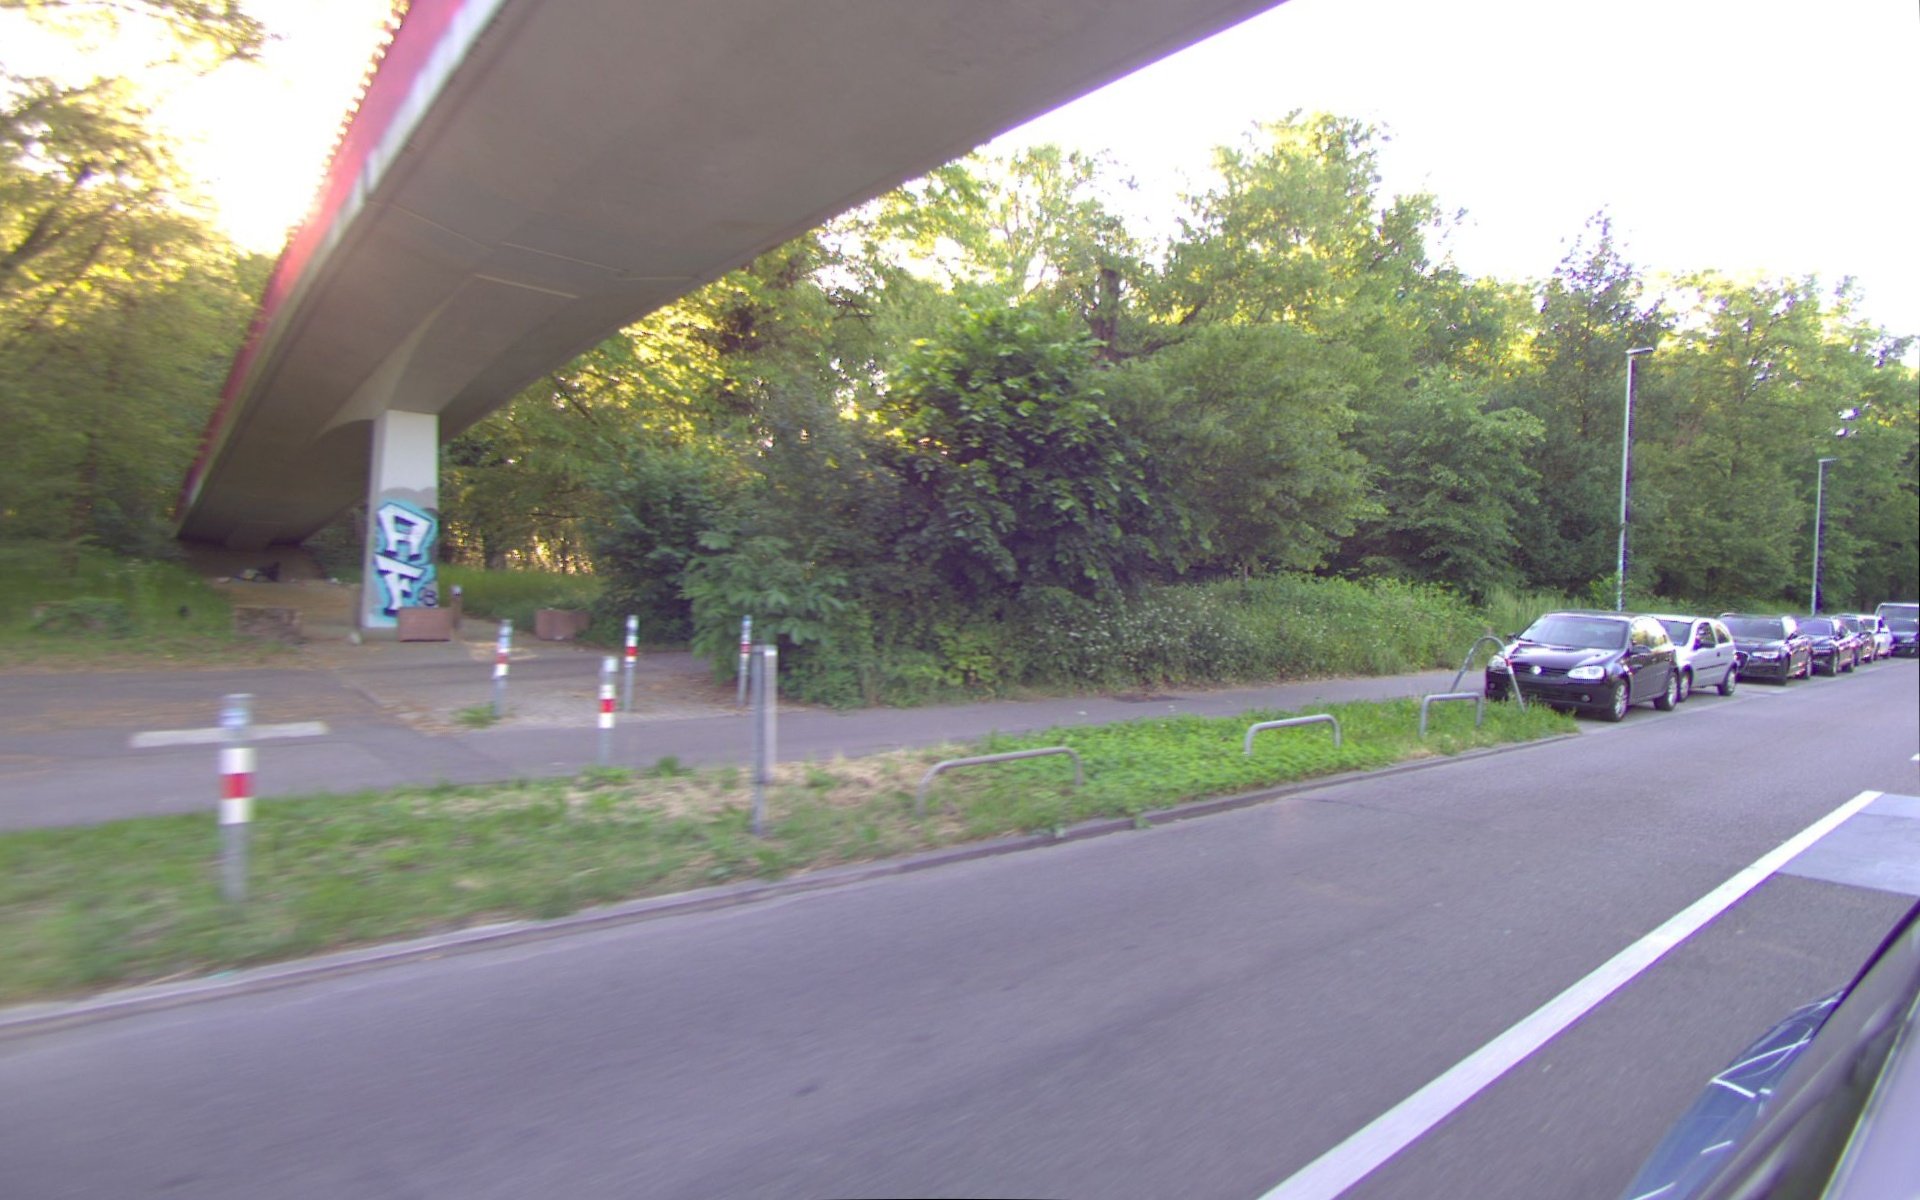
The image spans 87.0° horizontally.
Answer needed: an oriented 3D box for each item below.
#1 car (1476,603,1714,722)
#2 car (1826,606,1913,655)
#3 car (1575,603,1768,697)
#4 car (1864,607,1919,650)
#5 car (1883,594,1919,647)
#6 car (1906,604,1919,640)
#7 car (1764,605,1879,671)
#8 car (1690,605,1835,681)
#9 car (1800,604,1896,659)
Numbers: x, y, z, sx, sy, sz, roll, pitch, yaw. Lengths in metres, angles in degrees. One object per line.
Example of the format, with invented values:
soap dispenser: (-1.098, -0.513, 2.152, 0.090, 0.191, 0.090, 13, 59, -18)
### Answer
car: (9.701, 0.838, 15.340, 4.309, 1.471, 1.778, 0, 2, -40)
car: (30.553, 0.994, 33.971, 3.730, 1.471, 1.590, 0, 2, -39)
car: (13.114, 0.840, 18.586, 3.940, 1.471, 1.780, 1, 2, -38)
car: (34.601, 1.020, 36.893, 4.291, 1.423, 1.873, 0, 2, -40)
car: (39.312, 0.827, 41.192, 5.378, 2.005, 1.873, 0, 2, -40)
car: (43.921, 0.998, 45.294, 4.350, 1.566, 1.763, 0, 2, -40)
car: (22.526, 0.922, 26.405, 4.814, 1.471, 1.640, 0, 2, -42)
car: (18.417, 0.897, 23.139, 4.951, 1.471, 1.777, 0, 2, -42)
car: (26.957, 0.912, 30.684, 3.873, 1.471, 1.589, 0, 2, -40)
